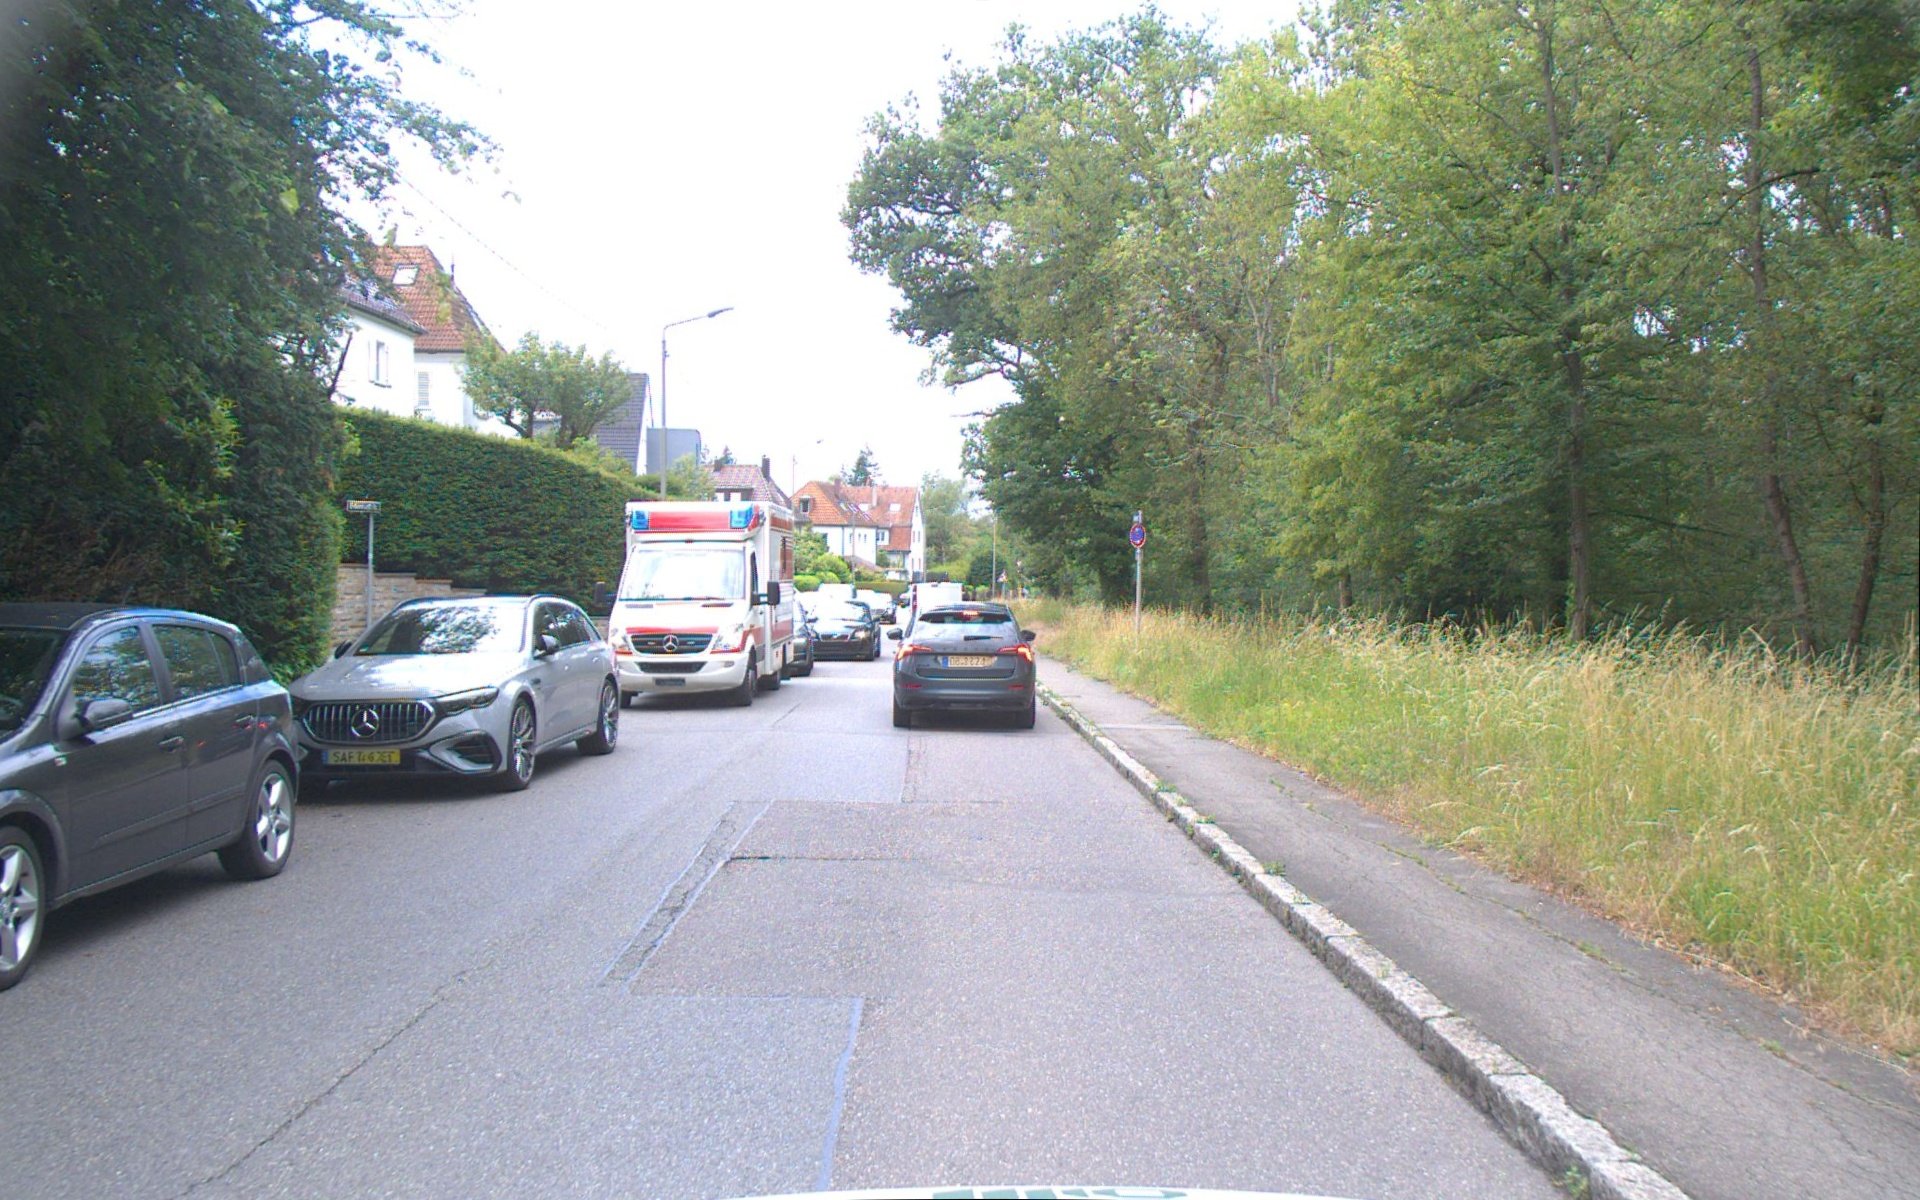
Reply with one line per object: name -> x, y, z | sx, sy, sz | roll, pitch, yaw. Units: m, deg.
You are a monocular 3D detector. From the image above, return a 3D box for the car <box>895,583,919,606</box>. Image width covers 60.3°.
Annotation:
car -> -4.103, -0.441, 127.554 | 1.796, 1.625, 4.323 | 1, 1, -2

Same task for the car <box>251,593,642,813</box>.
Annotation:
car -> -4.147, 0.739, 14.274 | 1.761, 1.531, 4.863 | -1, 0, 1

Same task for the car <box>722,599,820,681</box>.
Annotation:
car -> -3.640, 0.729, 32.463 | 1.729, 1.471, 4.470 | 0, 0, -4

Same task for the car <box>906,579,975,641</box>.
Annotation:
car -> -0.702, 0.308, 56.539 | 2.031, 1.956, 4.918 | 1, 0, -4

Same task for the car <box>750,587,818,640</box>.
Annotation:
car -> -5.879, 0.420, 55.652 | 1.800, 1.677, 4.186 | -1, 0, 0

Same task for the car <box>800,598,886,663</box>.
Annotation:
car -> -2.773, 0.690, 39.997 | 1.727, 1.471, 4.473 | 0, 0, 0

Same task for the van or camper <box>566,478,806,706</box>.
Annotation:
van or camper -> -3.879, -0.110, 24.991 | 2.406, 2.945, 7.168 | 0, 0, 0

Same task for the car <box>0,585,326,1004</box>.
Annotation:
car -> -4.400, 0.734, 7.319 | 1.685, 1.531, 4.059 | -1, 0, -2

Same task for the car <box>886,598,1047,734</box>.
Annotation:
car -> -0.021, 0.739, 20.790 | 1.694, 1.464, 4.320 | 1, 0, -4

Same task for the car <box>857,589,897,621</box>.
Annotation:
car -> -4.053, 0.234, 81.272 | 1.825, 1.439, 4.590 | 2, 0, -2

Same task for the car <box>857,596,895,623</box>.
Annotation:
car -> -4.875, 0.533, 96.516 | 1.746, 1.526, 4.016 | 2, 0, 4
